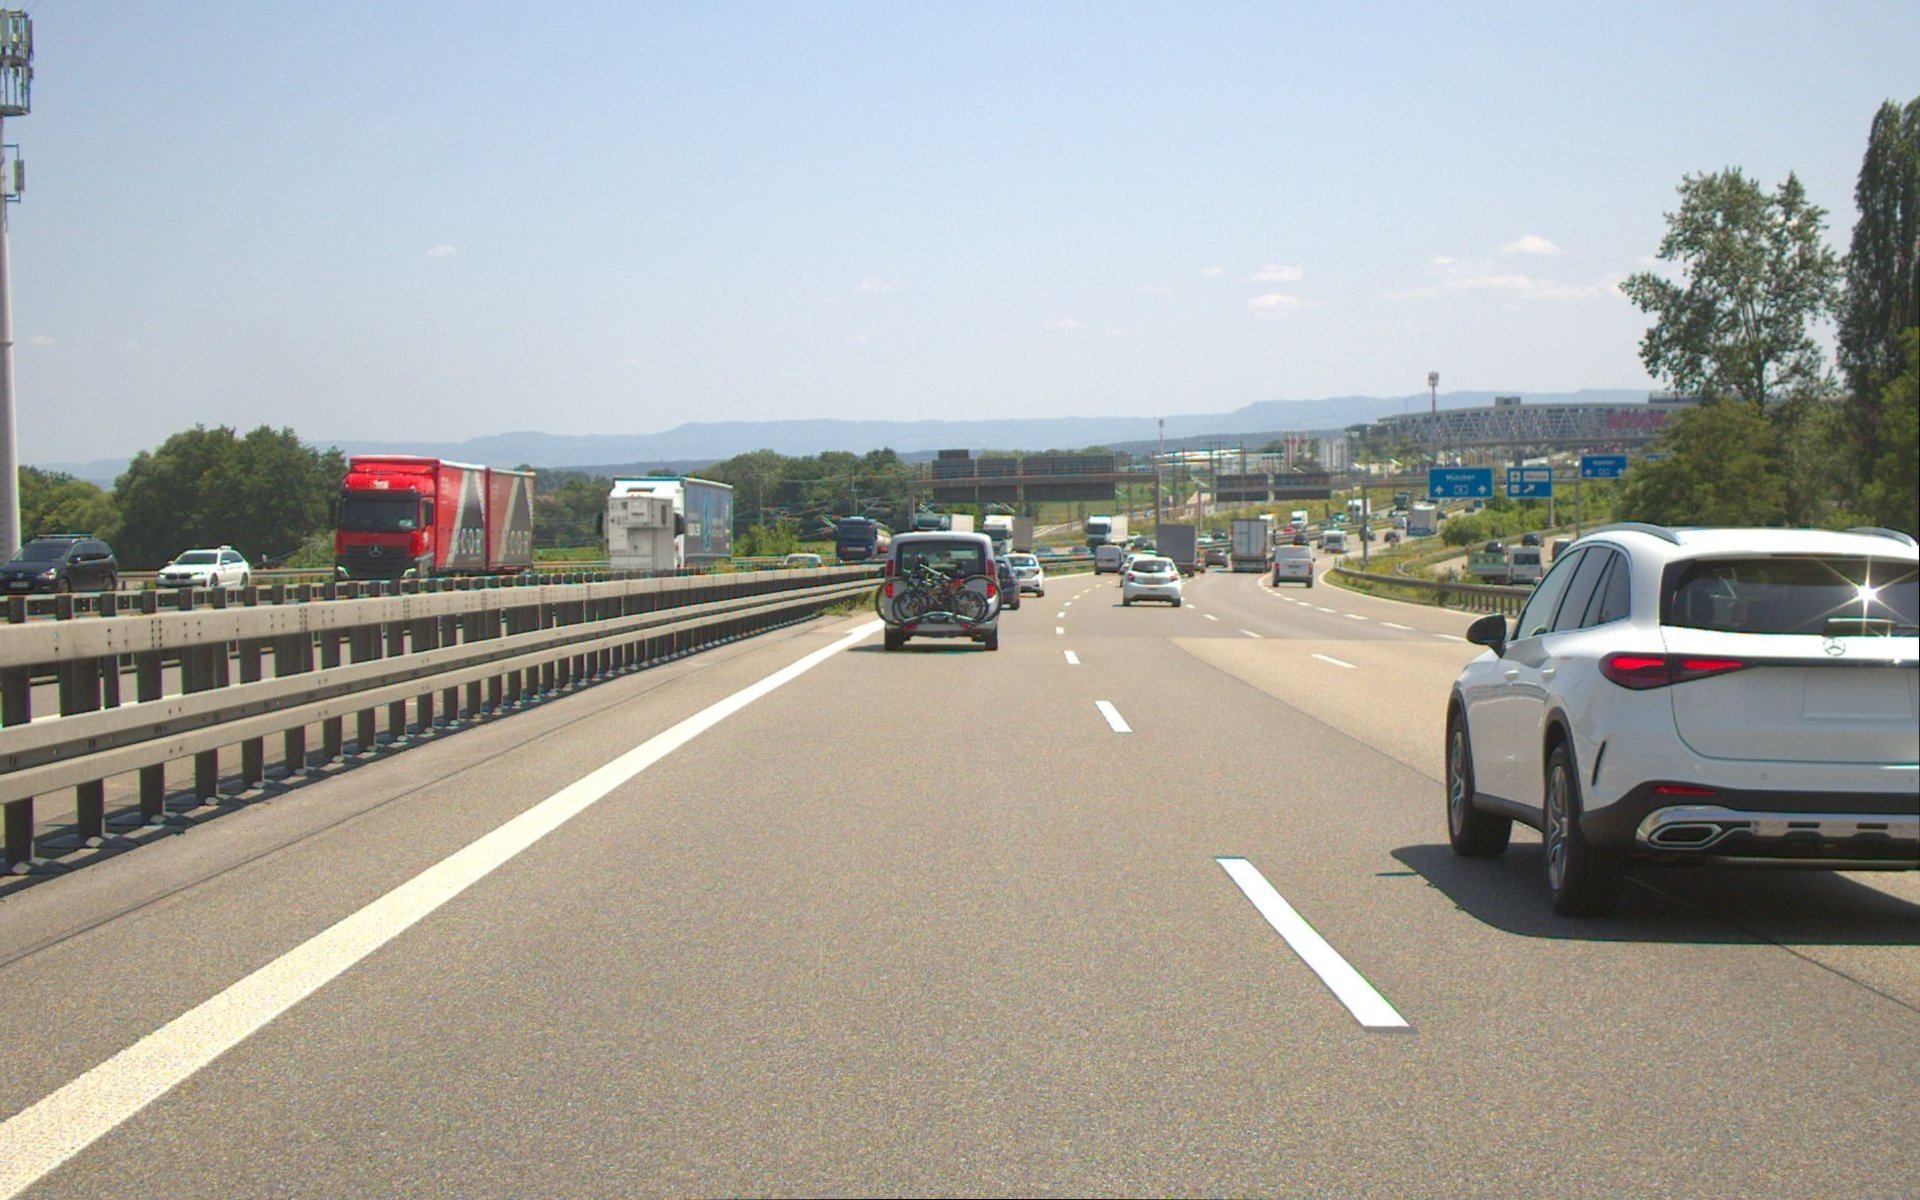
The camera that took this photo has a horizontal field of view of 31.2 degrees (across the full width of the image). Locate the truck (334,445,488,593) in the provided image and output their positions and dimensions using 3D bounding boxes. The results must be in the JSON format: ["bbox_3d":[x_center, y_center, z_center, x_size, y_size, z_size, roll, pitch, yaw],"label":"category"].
[{"bbox_3d":[-16.054,-2.338,101.183,2.582,4.101,10.348,1,1,1],"label":"truck"}]

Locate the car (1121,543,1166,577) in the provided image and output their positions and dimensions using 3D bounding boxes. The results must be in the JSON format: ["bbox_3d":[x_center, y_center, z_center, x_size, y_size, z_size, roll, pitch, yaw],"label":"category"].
[{"bbox_3d":[8.261,-1.813,154.274,1.982,1.468,4.000,1,1,3],"label":"car"}]

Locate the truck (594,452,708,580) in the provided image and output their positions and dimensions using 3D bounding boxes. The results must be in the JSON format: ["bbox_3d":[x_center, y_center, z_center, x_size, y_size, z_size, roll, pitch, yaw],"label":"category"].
[{"bbox_3d":[-10.831,-2.905,121.245,2.928,4.330,6.915,1,1,4],"label":"truck"}]

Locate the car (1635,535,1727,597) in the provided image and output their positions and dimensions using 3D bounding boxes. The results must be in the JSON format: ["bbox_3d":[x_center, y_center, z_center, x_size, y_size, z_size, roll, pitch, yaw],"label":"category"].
[{"bbox_3d":[23.385,-1.113,111.616,1.939,1.917,4.180,1,1,-2],"label":"car"}]

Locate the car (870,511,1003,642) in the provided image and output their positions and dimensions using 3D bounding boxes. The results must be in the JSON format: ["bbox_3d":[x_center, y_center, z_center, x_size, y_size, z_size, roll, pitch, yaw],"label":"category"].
[{"bbox_3d":[-0.346,-0.379,53.542,1.926,1.912,4.948,1,1,0],"label":"car"}]

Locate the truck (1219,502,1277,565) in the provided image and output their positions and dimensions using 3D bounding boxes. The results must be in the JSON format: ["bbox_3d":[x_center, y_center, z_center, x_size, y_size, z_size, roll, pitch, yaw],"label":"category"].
[{"bbox_3d":[21.387,-5.015,256.322,4.040,4.247,11.757,1,3,4],"label":"truck"}]

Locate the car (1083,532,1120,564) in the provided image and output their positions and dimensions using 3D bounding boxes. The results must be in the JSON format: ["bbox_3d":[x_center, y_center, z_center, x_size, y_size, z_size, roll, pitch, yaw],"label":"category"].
[{"bbox_3d":[9.094,-3.326,220.903,2.186,1.996,3.999,1,1,4],"label":"car"}]

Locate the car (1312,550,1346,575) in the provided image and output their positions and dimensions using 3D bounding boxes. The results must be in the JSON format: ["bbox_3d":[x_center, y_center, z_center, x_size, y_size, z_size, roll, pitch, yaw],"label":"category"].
[{"bbox_3d":[26.221,-2.652,244.307,1.993,1.684,4.000,1,1,1],"label":"car"}]

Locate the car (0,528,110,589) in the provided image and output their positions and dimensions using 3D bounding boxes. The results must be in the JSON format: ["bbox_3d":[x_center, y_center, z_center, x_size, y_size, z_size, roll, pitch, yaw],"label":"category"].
[{"bbox_3d":[-24.685,-1.131,93.517,2.013,1.575,4.000,1,1,2],"label":"car"}]

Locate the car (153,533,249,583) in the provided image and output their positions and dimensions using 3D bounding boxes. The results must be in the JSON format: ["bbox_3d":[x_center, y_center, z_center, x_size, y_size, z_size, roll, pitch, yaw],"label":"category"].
[{"bbox_3d":[-25.052,-1.387,113.596,2.092,1.575,4.000,1,1,3],"label":"car"}]

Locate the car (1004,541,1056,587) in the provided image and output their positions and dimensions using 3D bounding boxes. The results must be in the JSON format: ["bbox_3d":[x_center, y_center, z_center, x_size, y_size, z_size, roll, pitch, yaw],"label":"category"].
[{"bbox_3d":[2.453,-1.241,119.898,1.576,1.547,3.963,1,1,4],"label":"car"}]

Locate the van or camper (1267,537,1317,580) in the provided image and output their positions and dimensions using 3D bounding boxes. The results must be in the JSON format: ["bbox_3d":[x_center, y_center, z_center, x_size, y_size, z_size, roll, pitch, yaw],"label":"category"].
[{"bbox_3d":[15.968,-2.004,165.414,2.156,2.007,4.304,1,1,3],"label":"van or camper"}]

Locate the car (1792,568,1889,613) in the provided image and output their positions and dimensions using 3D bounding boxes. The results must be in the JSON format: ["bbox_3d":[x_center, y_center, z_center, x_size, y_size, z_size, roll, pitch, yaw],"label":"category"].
[{"bbox_3d":[26.526,-0.290,103.674,1.699,1.273,4.001,1,1,-3],"label":"car"}]

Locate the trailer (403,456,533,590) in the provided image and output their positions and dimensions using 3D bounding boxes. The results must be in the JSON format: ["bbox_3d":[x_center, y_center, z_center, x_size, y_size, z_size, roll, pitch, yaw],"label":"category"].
[{"bbox_3d":[-15.753,-2.440,110.680,2.559,4.091,8.715,1,1,2],"label":"trailer"}]

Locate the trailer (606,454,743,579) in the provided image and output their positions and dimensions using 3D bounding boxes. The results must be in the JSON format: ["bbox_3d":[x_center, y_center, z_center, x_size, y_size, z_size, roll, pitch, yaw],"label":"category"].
[{"bbox_3d":[-10.463,-3.012,127.779,2.946,4.327,14.619,1,1,3],"label":"trailer"}]

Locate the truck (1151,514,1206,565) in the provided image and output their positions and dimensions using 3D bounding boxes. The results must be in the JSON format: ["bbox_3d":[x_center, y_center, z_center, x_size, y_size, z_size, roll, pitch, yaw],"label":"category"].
[{"bbox_3d":[13.733,-3.760,215.409,2.703,3.098,10.656,1,1,7],"label":"truck"}]

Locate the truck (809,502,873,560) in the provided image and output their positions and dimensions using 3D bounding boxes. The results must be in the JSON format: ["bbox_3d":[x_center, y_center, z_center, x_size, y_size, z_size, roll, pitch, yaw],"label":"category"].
[{"bbox_3d":[-8.026,-4.670,234.016,3.219,3.773,12.900,1,1,3],"label":"truck"}]

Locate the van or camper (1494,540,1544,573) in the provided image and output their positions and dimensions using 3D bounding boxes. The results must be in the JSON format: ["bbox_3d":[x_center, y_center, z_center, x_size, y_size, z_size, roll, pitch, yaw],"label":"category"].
[{"bbox_3d":[34.300,-2.665,210.967,2.529,2.007,4.460,1,1,3],"label":"van or camper"}]

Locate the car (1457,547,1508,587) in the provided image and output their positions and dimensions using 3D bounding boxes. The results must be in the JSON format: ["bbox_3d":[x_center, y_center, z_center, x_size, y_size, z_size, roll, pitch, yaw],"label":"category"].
[{"bbox_3d":[27.515,-1.751,181.160,1.993,2.007,4.000,1,1,-1],"label":"car"}]

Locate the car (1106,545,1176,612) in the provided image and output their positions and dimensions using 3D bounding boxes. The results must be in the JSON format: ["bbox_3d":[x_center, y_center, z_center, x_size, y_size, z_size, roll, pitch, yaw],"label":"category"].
[{"bbox_3d":[5.357,-0.650,102.402,1.927,1.912,4.517,1,1,1],"label":"car"}]

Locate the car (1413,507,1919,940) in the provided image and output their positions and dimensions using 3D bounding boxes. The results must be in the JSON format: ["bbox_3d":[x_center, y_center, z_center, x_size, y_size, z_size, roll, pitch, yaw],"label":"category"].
[{"bbox_3d":[3.378,0.450,15.705,1.898,1.641,4.999,1,1,0],"label":"car"}]
